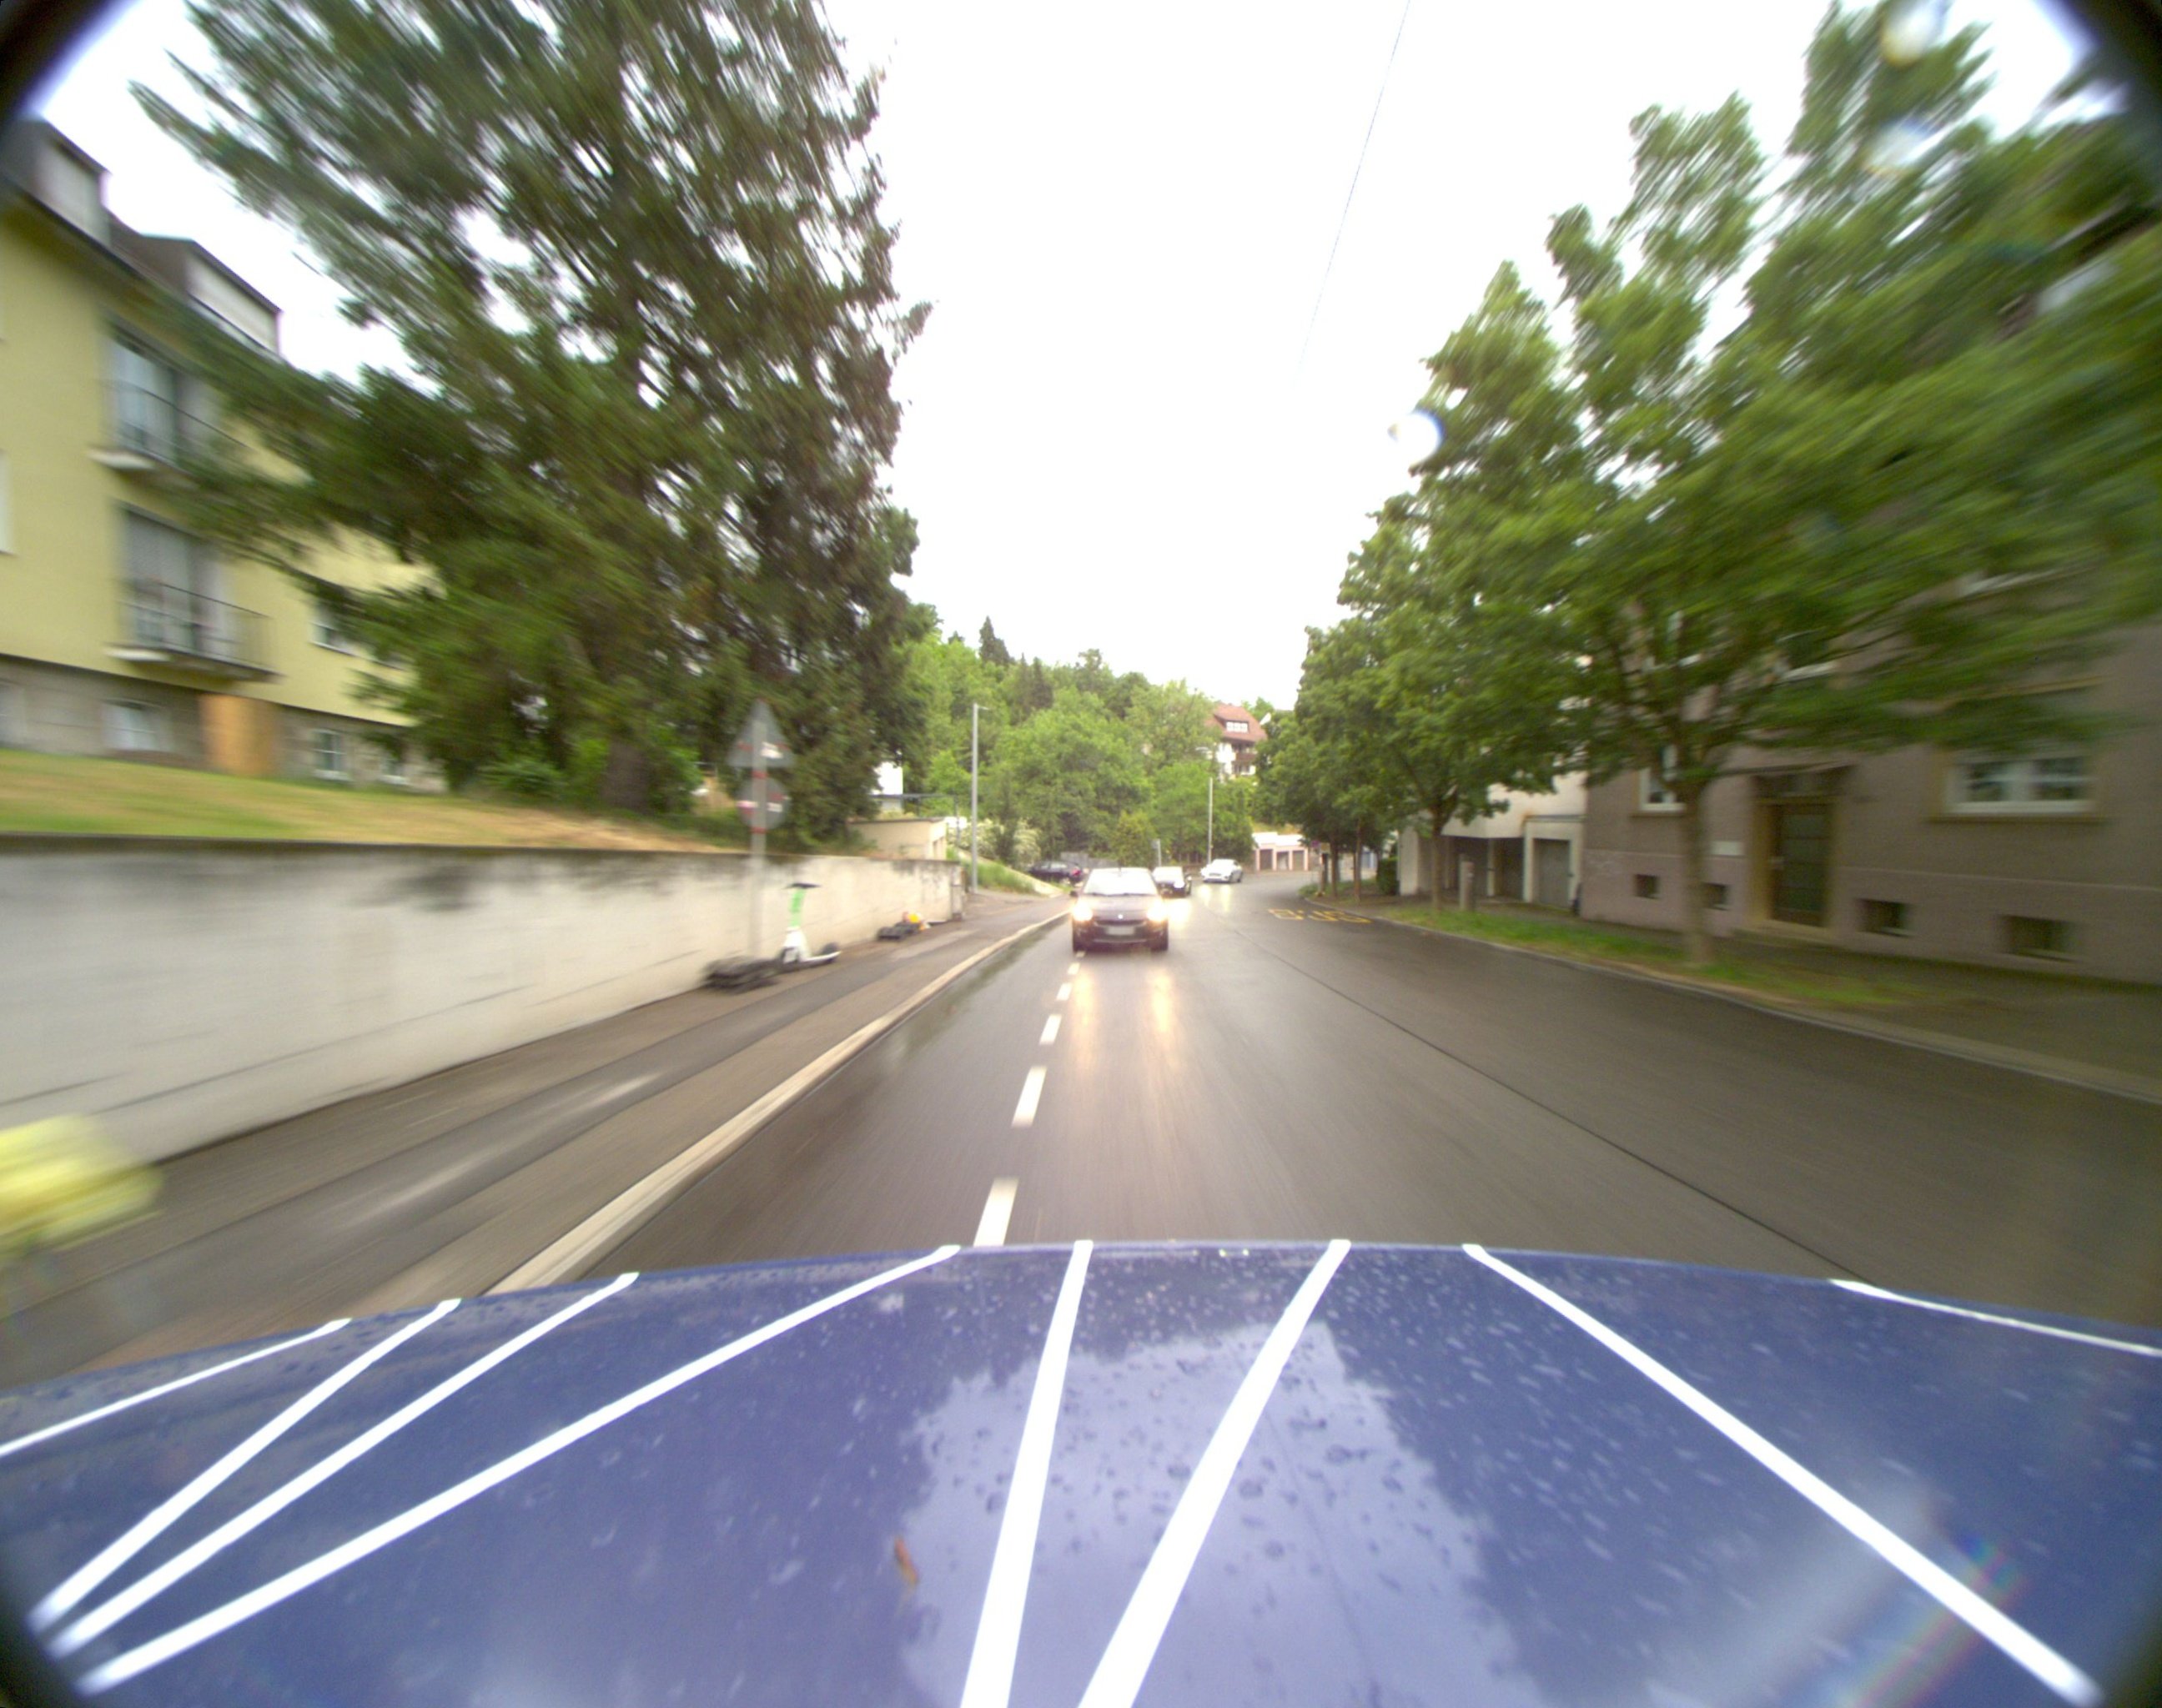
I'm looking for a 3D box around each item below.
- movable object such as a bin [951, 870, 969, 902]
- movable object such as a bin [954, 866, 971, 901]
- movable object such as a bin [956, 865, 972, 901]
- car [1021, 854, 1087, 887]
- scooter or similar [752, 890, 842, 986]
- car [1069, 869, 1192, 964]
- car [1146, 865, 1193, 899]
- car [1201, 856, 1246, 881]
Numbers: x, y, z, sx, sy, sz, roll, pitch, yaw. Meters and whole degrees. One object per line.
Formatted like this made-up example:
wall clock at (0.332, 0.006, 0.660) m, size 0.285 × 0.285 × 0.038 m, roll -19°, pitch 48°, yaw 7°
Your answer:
movable object such as a bin at (-4.448, 1.167, 28.005) m, size 0.575 × 1.169 × 0.443 m, roll 1°, pitch 0°, yaw -1°
movable object such as a bin at (-4.455, 1.104, 28.508) m, size 0.564 × 1.261 × 0.453 m, roll 1°, pitch 1°, yaw -1°
movable object such as a bin at (-4.459, 1.091, 29.013) m, size 0.555 × 1.343 × 0.463 m, roll 1°, pitch 1°, yaw -1°
car at (-1.497, 0.917, 42.921) m, size 3.464 × 1.623 × 1.580 m, roll 2°, pitch 1°, yaw 9°
scooter or similar at (-3.755, 1.078, 10.150) m, size 0.599 × 1.126 × 1.371 m, roll 0°, pitch 0°, yaw 4°
car at (1.030, 1.035, 13.983) m, size 1.576 × 1.444 × 3.591 m, roll 0°, pitch 0°, yaw 15°
car at (4.211, 1.261, 35.607) m, size 1.805 × 1.480 × 4.021 m, roll 0°, pitch 0°, yaw 12°
car at (10.244, 1.013, 54.329) m, size 2.009 × 1.652 × 4.454 m, roll 0°, pitch 0°, yaw 26°
